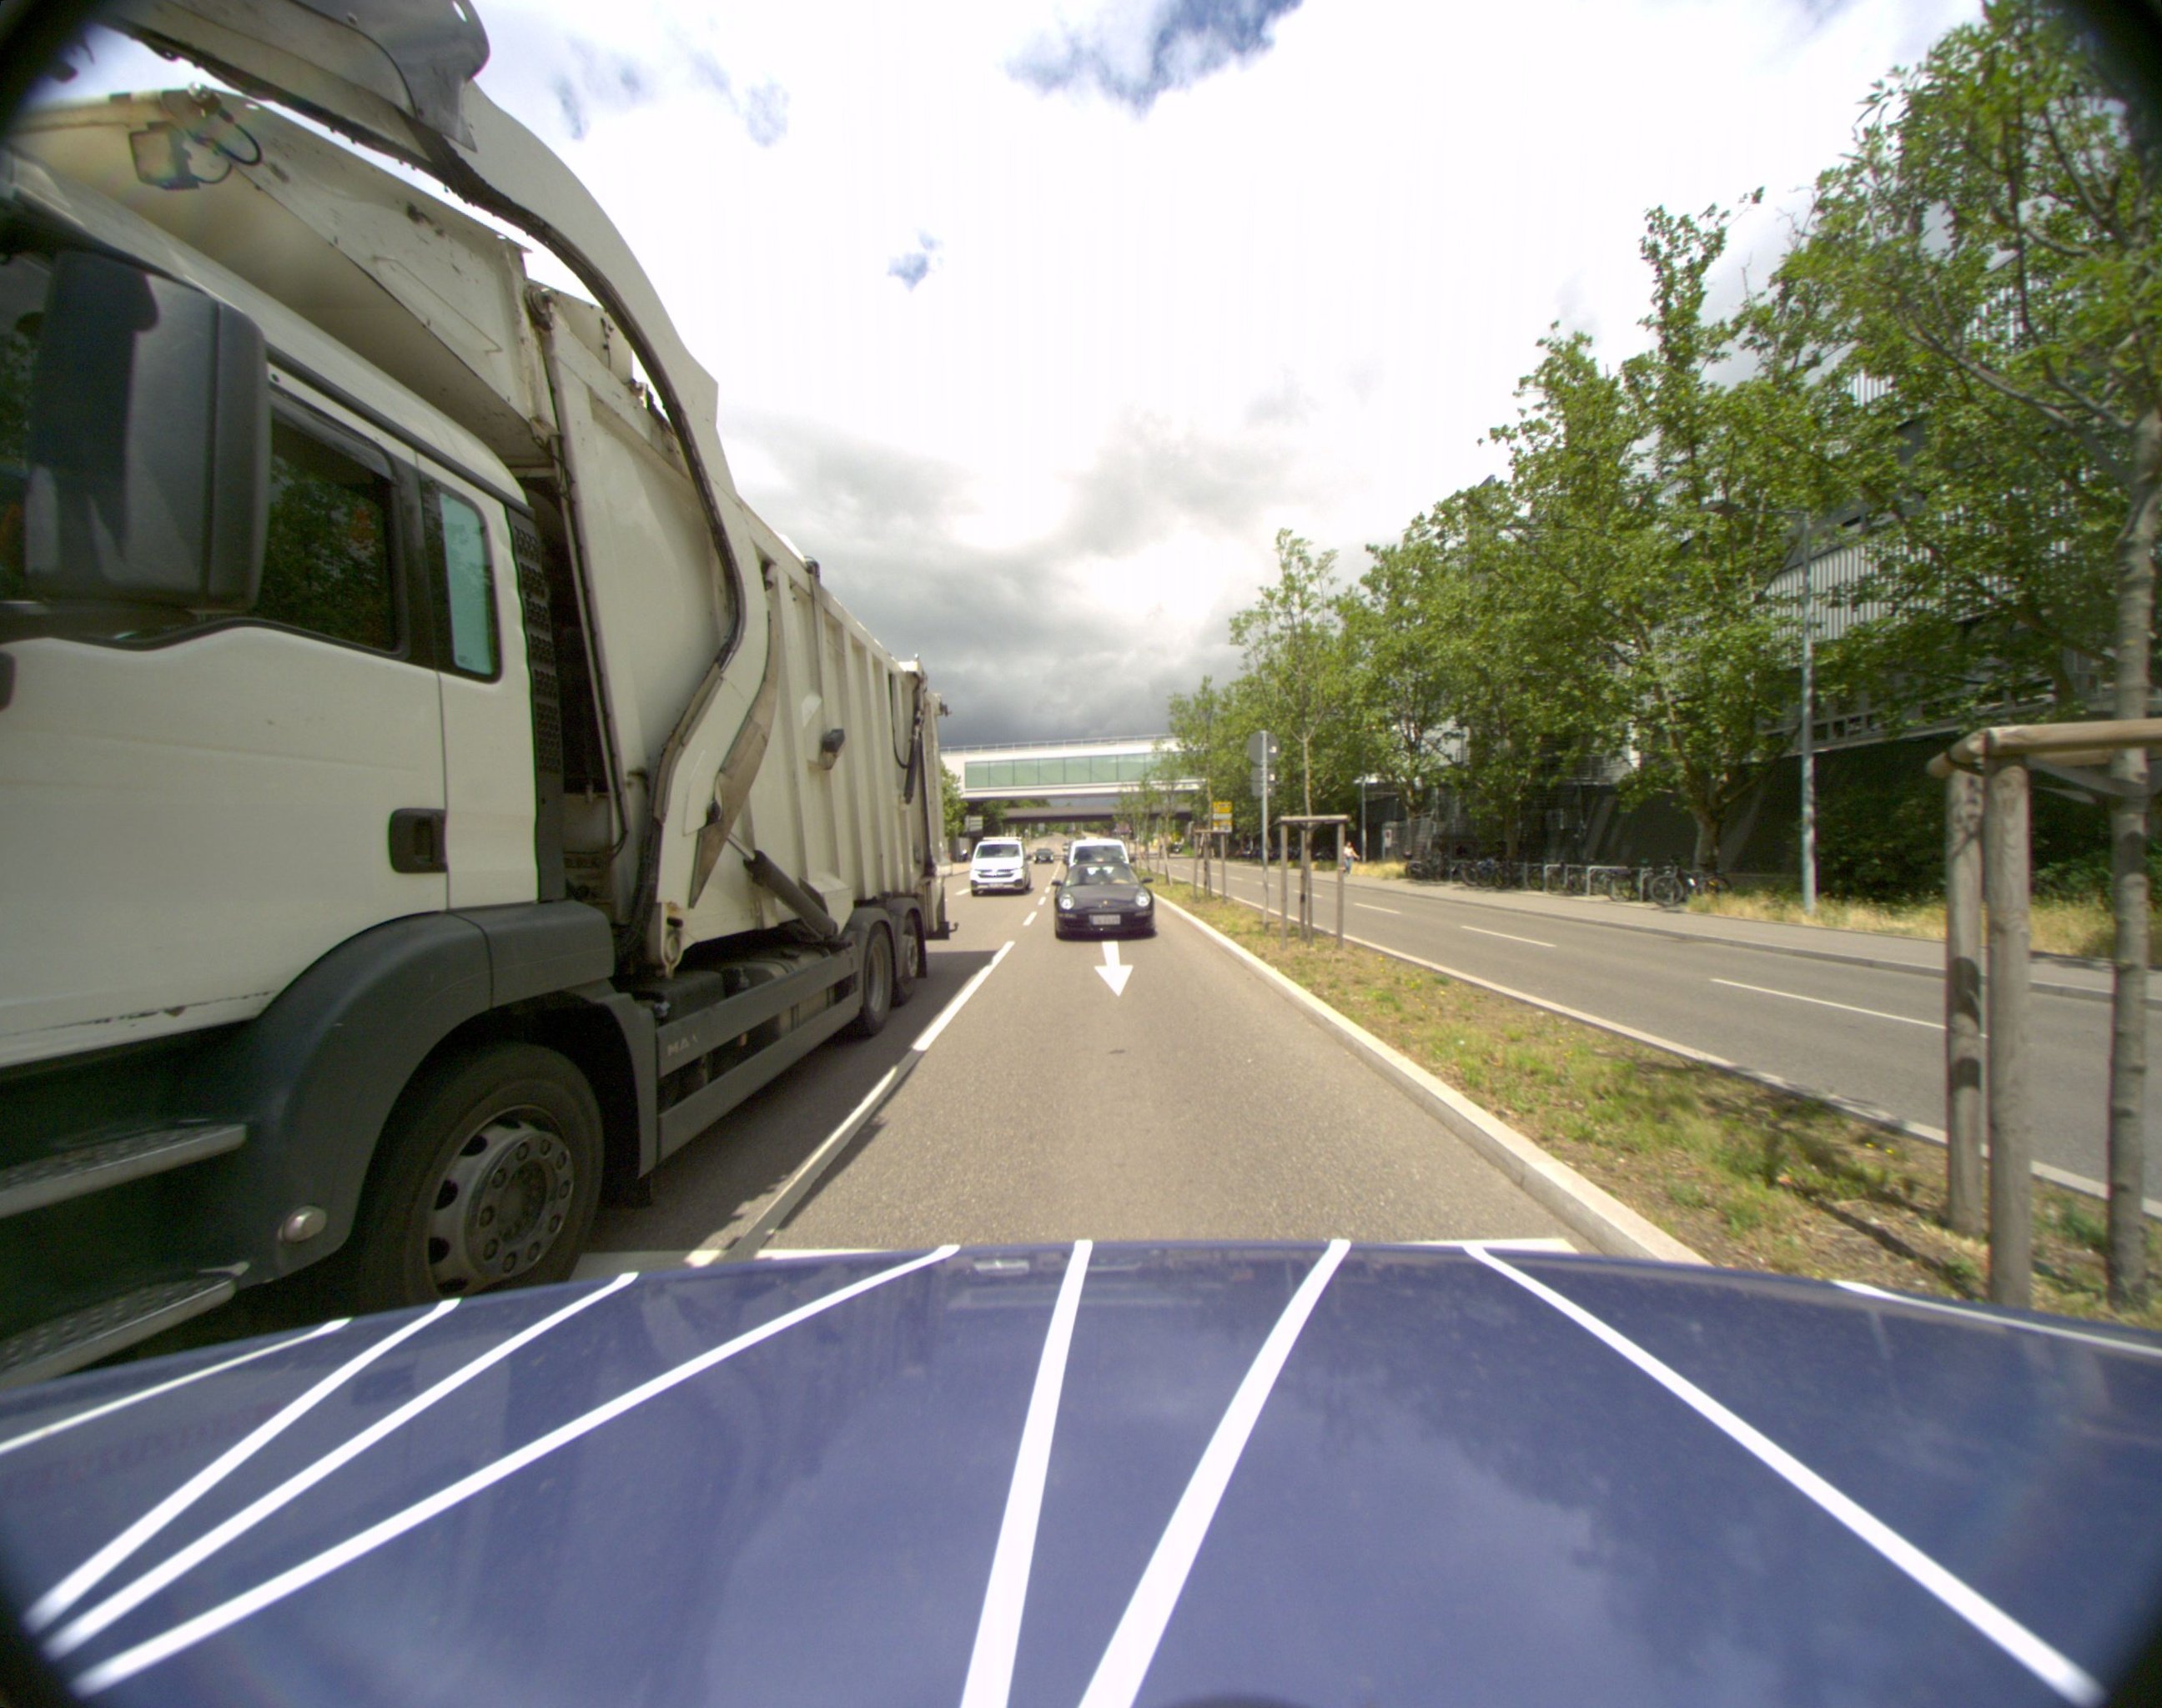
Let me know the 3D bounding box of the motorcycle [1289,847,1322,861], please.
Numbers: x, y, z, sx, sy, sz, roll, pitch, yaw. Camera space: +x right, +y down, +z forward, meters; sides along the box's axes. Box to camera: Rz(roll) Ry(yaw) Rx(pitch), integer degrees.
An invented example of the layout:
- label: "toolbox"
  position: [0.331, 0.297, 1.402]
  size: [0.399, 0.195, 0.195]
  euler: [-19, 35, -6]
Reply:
- label: "motorcycle"
  position: [15.670, -0.006, 53.090]
  size: [2.133, 0.880, 0.534]
  euler: [-2, 1, 1]

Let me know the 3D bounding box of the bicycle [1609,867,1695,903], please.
- label: "bicycle"
  position: [15.005, 0.804, 19.969]
  size: [1.993, 0.886, 0.382]
  euler: [-2, 1, -1]

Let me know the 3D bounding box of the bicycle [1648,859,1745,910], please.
- label: "bicycle"
  position: [14.433, 0.711, 17.825]
  size: [1.993, 1.122, 0.382]
  euler: [-2, 1, -1]

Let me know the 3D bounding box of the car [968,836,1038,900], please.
- label: "car"
  position: [-2.759, 0.448, 27.852]
  size: [1.925, 2.082, 4.656]
  euler: [-2, 1, 1]

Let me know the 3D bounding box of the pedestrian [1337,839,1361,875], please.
- label: "pedestrian"
  position: [12.847, 0.145, 36.464]
  size: [0.900, 1.711, 0.672]
  euler: [-1, 1, 0]

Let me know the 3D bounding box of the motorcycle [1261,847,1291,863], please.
- label: "motorcycle"
  position: [14.840, 0.080, 57.902]
  size: [2.133, 1.131, 0.534]
  euler: [-2, 1, 1]

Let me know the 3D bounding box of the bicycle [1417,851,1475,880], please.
- label: "bicycle"
  position: [14.771, 0.475, 30.744]
  size: [2.129, 1.104, 0.382]
  euler: [-1, 1, 3]

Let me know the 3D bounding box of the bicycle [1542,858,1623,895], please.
- label: "bicycle"
  position: [15.052, 0.670, 22.842]
  size: [2.129, 1.025, 0.382]
  euler: [-1, 1, 3]

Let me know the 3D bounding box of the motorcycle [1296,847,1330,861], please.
- label: "motorcycle"
  position: [15.631, 0.001, 51.170]
  size: [2.133, 0.893, 0.534]
  euler: [-2, 1, 1]

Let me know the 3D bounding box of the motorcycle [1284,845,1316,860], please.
- label: "motorcycle"
  position: [15.715, -0.114, 54.467]
  size: [2.133, 0.963, 0.534]
  euler: [-2, 1, 1]

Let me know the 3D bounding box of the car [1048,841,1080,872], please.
- label: "car"
  position: [-1.039, 0.147, 48.583]
  size: [1.862, 1.800, 4.356]
  euler: [-3, 1, 1]

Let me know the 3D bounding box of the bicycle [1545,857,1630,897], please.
- label: "bicycle"
  position: [14.621, 0.668, 21.947]
  size: [2.129, 1.090, 0.382]
  euler: [-1, 1, 3]

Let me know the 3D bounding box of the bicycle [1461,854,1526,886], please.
- label: "bicycle"
  position: [15.093, 0.590, 27.813]
  size: [2.129, 1.104, 0.382]
  euler: [-1, 1, 3]

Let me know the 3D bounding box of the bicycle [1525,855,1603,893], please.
- label: "bicycle"
  position: [15.080, 0.617, 23.747]
  size: [2.129, 1.104, 0.382]
  euler: [-1, 1, 3]

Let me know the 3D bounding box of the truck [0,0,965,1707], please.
- label: "truck"
  position: [-2.973, -0.283, 5.752]
  size: [2.495, 3.891, 10.171]
  euler: [-2, 1, 0]

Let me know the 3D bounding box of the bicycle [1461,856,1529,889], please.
- label: "bicycle"
  position: [14.537, 0.648, 26.697]
  size: [2.129, 1.104, 0.382]
  euler: [-1, 1, 3]

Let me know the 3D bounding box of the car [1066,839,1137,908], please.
- label: "car"
  position: [0.567, 0.488, 22.759]
  size: [1.862, 1.800, 4.905]
  euler: [-2, 1, 1]

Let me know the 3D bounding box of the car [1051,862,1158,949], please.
- label: "car"
  position: [0.401, 0.868, 14.258]
  size: [1.710, 1.281, 3.806]
  euler: [-2, 1, 1]

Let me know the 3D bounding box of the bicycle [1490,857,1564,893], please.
- label: "bicycle"
  position: [14.537, 0.673, 24.786]
  size: [2.129, 1.104, 0.382]
  euler: [-1, 1, 3]

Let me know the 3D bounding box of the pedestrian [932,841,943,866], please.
- label: "pedestrian"
  position: [-11.036, -0.032, 58.459]
  size: [0.739, 1.902, 0.658]
  euler: [-2, 2, -5]

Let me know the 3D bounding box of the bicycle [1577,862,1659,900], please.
- label: "bicycle"
  position: [14.799, 0.736, 20.947]
  size: [1.993, 0.992, 0.382]
  euler: [-2, 1, -1]

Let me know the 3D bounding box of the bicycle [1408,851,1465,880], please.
- label: "bicycle"
  position: [14.765, 0.477, 31.586]
  size: [2.129, 1.104, 0.382]
  euler: [-1, 1, 3]

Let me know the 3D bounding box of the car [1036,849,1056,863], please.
- label: "car"
  position: [-3.444, 0.177, 75.979]
  size: [1.862, 1.369, 4.356]
  euler: [-1, 1, -1]

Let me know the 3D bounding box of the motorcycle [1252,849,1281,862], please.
- label: "motorcycle"
  position: [14.515, 0.124, 59.619]
  size: [2.133, 0.963, 0.534]
  euler: [-2, 1, 1]

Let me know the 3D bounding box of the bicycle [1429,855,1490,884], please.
- label: "bicycle"
  position: [14.846, 0.604, 29.824]
  size: [2.129, 1.104, 0.382]
  euler: [-1, 1, 3]

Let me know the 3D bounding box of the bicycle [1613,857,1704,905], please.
- label: "bicycle"
  position: [14.405, 0.672, 18.963]
  size: [1.993, 1.122, 0.382]
  euler: [-2, 1, -1]

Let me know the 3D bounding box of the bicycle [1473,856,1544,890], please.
- label: "bicycle"
  position: [14.513, 0.650, 25.810]
  size: [2.129, 1.104, 0.382]
  euler: [-1, 1, 3]
